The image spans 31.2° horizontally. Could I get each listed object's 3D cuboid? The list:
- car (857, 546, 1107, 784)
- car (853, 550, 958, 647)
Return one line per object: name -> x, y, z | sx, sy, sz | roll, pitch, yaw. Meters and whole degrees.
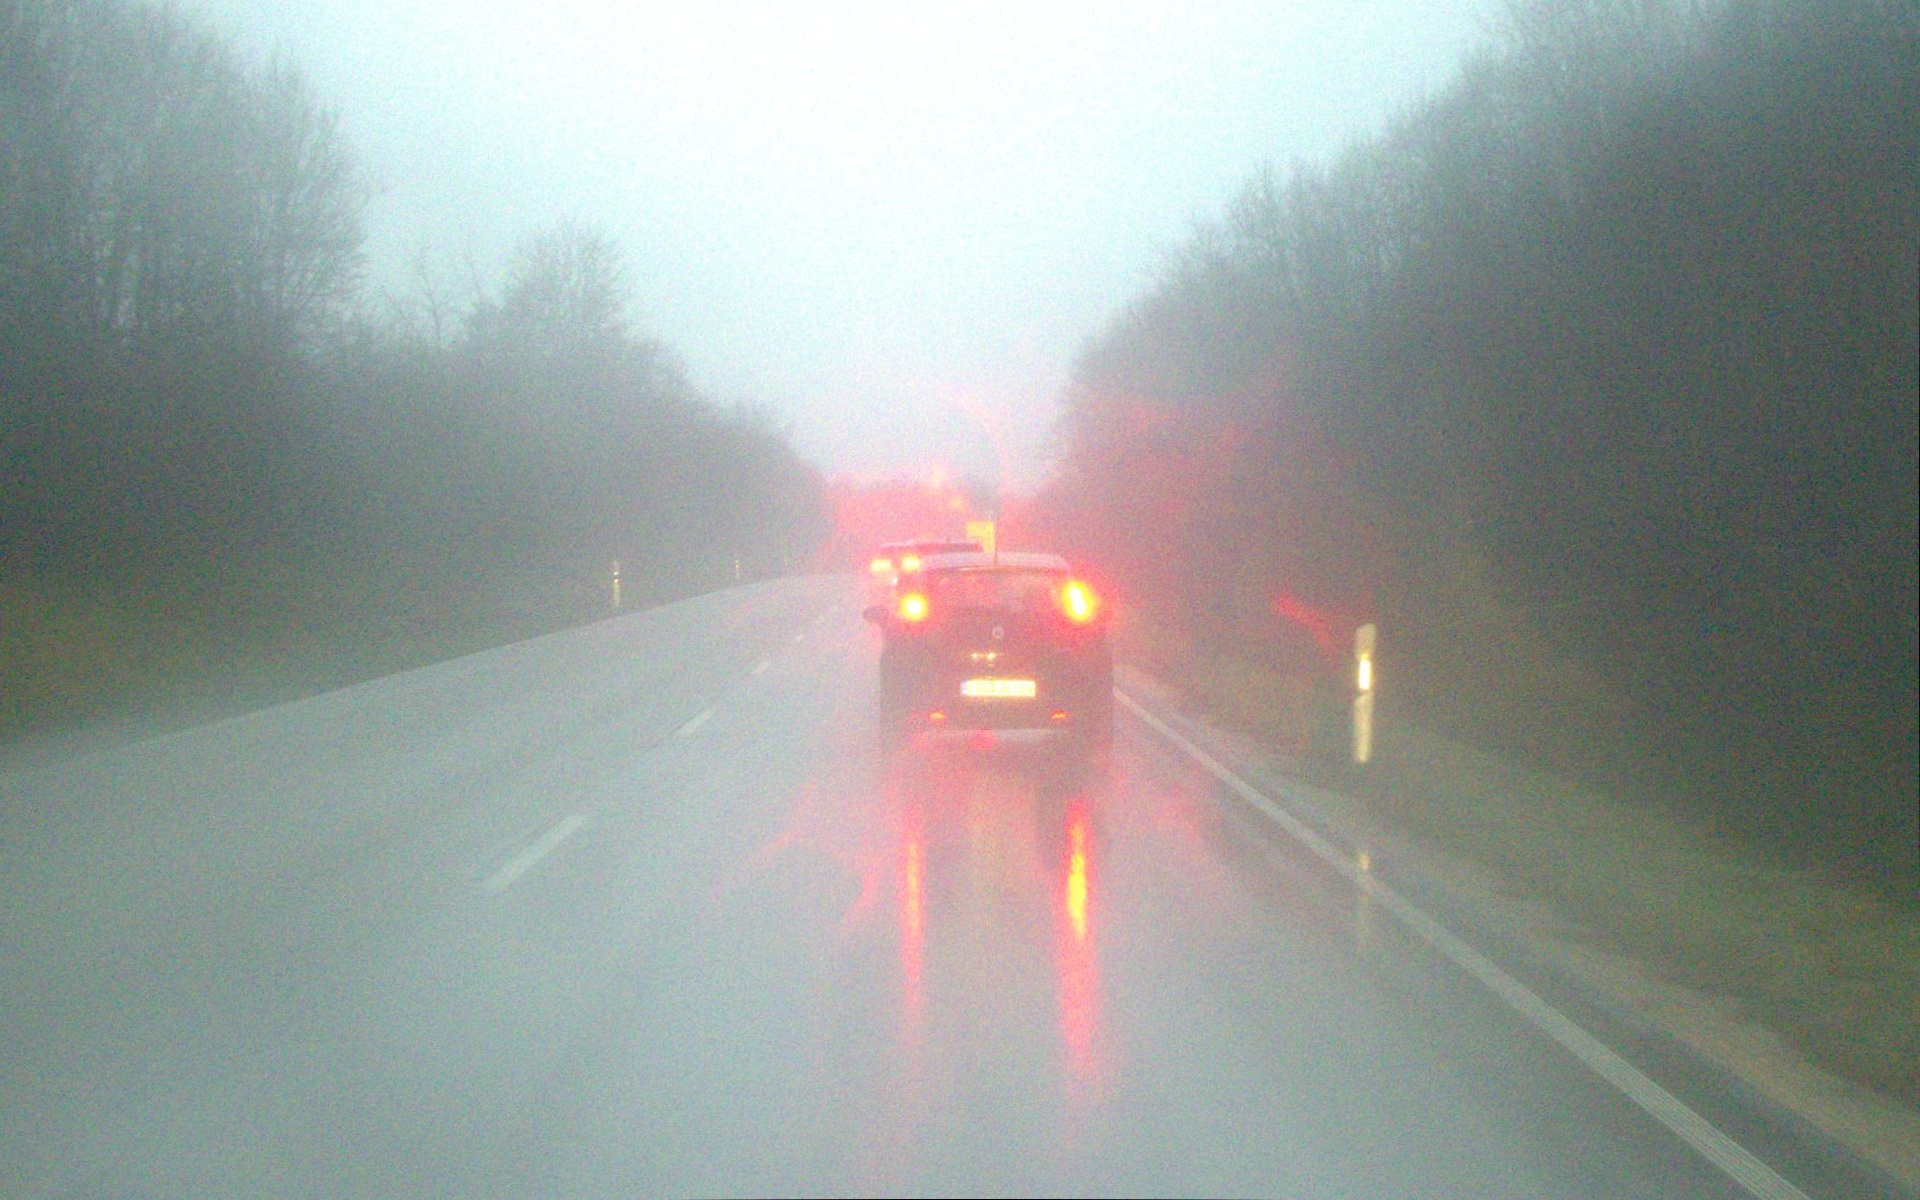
car -> 0.174, 0.434, 25.958 | 1.728, 1.638, 4.000 | 1, 1, 1
car -> -0.932, -0.049, 60.459 | 1.728, 1.638, 4.000 | 1, 1, 1
